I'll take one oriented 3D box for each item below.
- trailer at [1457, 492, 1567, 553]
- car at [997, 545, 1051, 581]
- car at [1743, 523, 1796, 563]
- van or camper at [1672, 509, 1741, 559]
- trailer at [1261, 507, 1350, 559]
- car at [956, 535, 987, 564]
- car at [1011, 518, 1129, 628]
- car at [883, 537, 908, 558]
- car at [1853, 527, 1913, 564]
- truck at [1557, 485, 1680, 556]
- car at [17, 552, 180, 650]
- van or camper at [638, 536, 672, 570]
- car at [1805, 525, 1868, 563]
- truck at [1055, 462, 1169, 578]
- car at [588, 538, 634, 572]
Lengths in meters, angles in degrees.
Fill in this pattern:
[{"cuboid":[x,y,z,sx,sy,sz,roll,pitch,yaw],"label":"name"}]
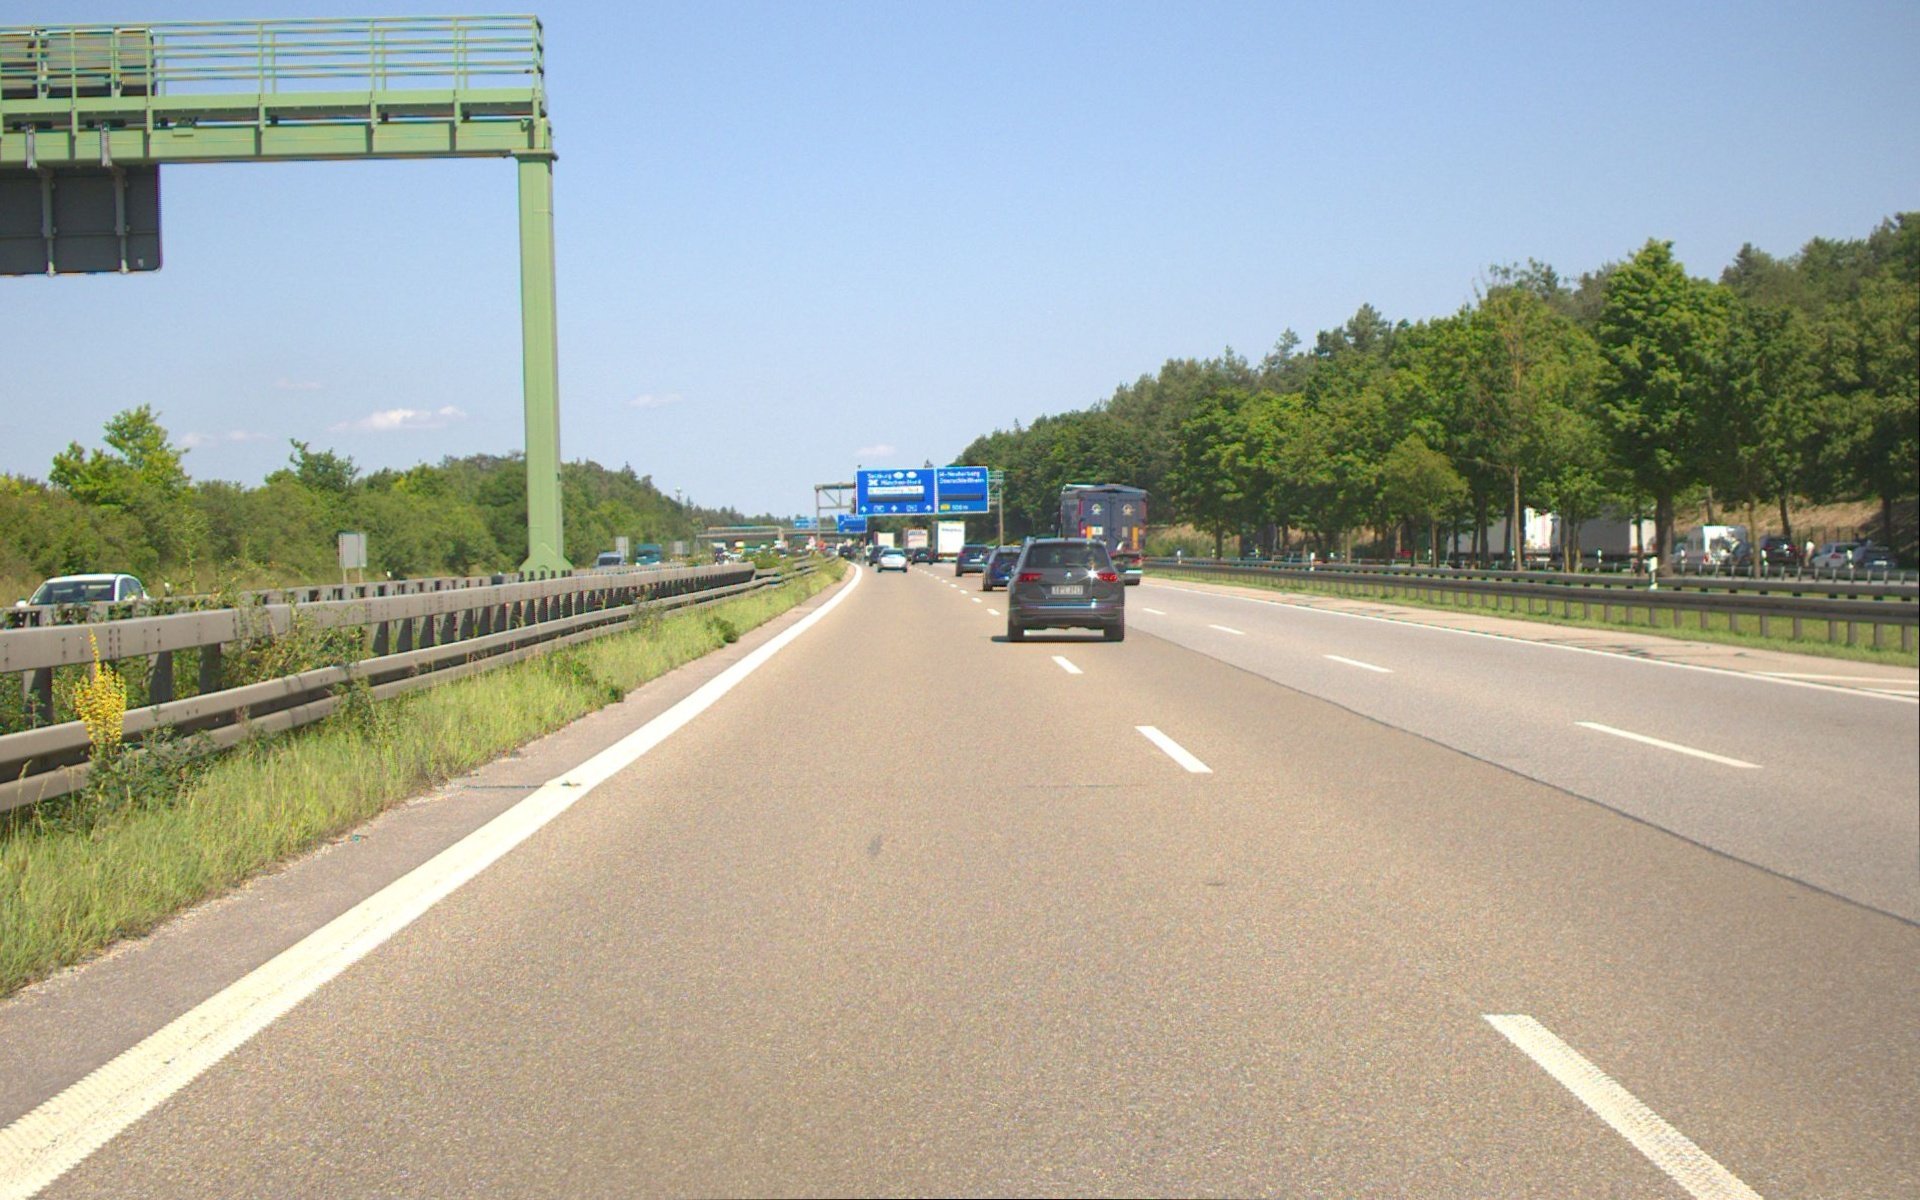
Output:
[{"cuboid":[35.050,-4.871,218.920,2.857,3.783,14.193,0,1,-8],"label":"trailer"},{"cuboid":[2.170,-1.265,116.800,1.708,1.151,3.689,-1,1,-1],"label":"car"},{"cuboid":[38.672,-2.722,164.271,1.656,1.871,4.800,0,1,3],"label":"car"},{"cuboid":[38.449,-3.373,177.164,2.203,2.522,5.876,0,1,-1],"label":"van or camper"},{"cuboid":[26.426,-5.111,263.524,2.571,3.901,12.753,0,1,-14],"label":"trailer"},{"cuboid":[0.572,-2.571,175.464,1.471,1.393,3.410,2,1,-1],"label":"car"},{"cuboid":[1.763,-0.461,54.960,1.799,1.663,4.258,1,1,2],"label":"car"},{"cuboid":[-3.832,-3.147,205.754,1.471,1.223,3.410,-1,1,-1],"label":"car"},{"cuboid":[39.742,-2.359,148.059,1.994,1.568,3.999,0,1,8],"label":"car"},{"cuboid":[37.830,-4.521,198.149,2.995,3.917,14.463,0,1,-5],"label":"truck"},{"cuboid":[-14.140,-0.006,56.607,1.666,1.459,3.882,-3,1,-1],"label":"car"},{"cuboid":[-22.431,-3.449,253.063,1.993,2.384,6.241,-2,1,-1],"label":"van or camper"},{"cuboid":[39.367,-2.517,154.502,1.656,1.670,4.652,0,1,0],"label":"car"},{"cuboid":[5.960,-3.160,137.328,3.780,4.407,14.051,0,1,-1],"label":"truck"},{"cuboid":[-20.545,-2.660,202.483,1.993,1.829,5.333,-3,1,1],"label":"car"}]
